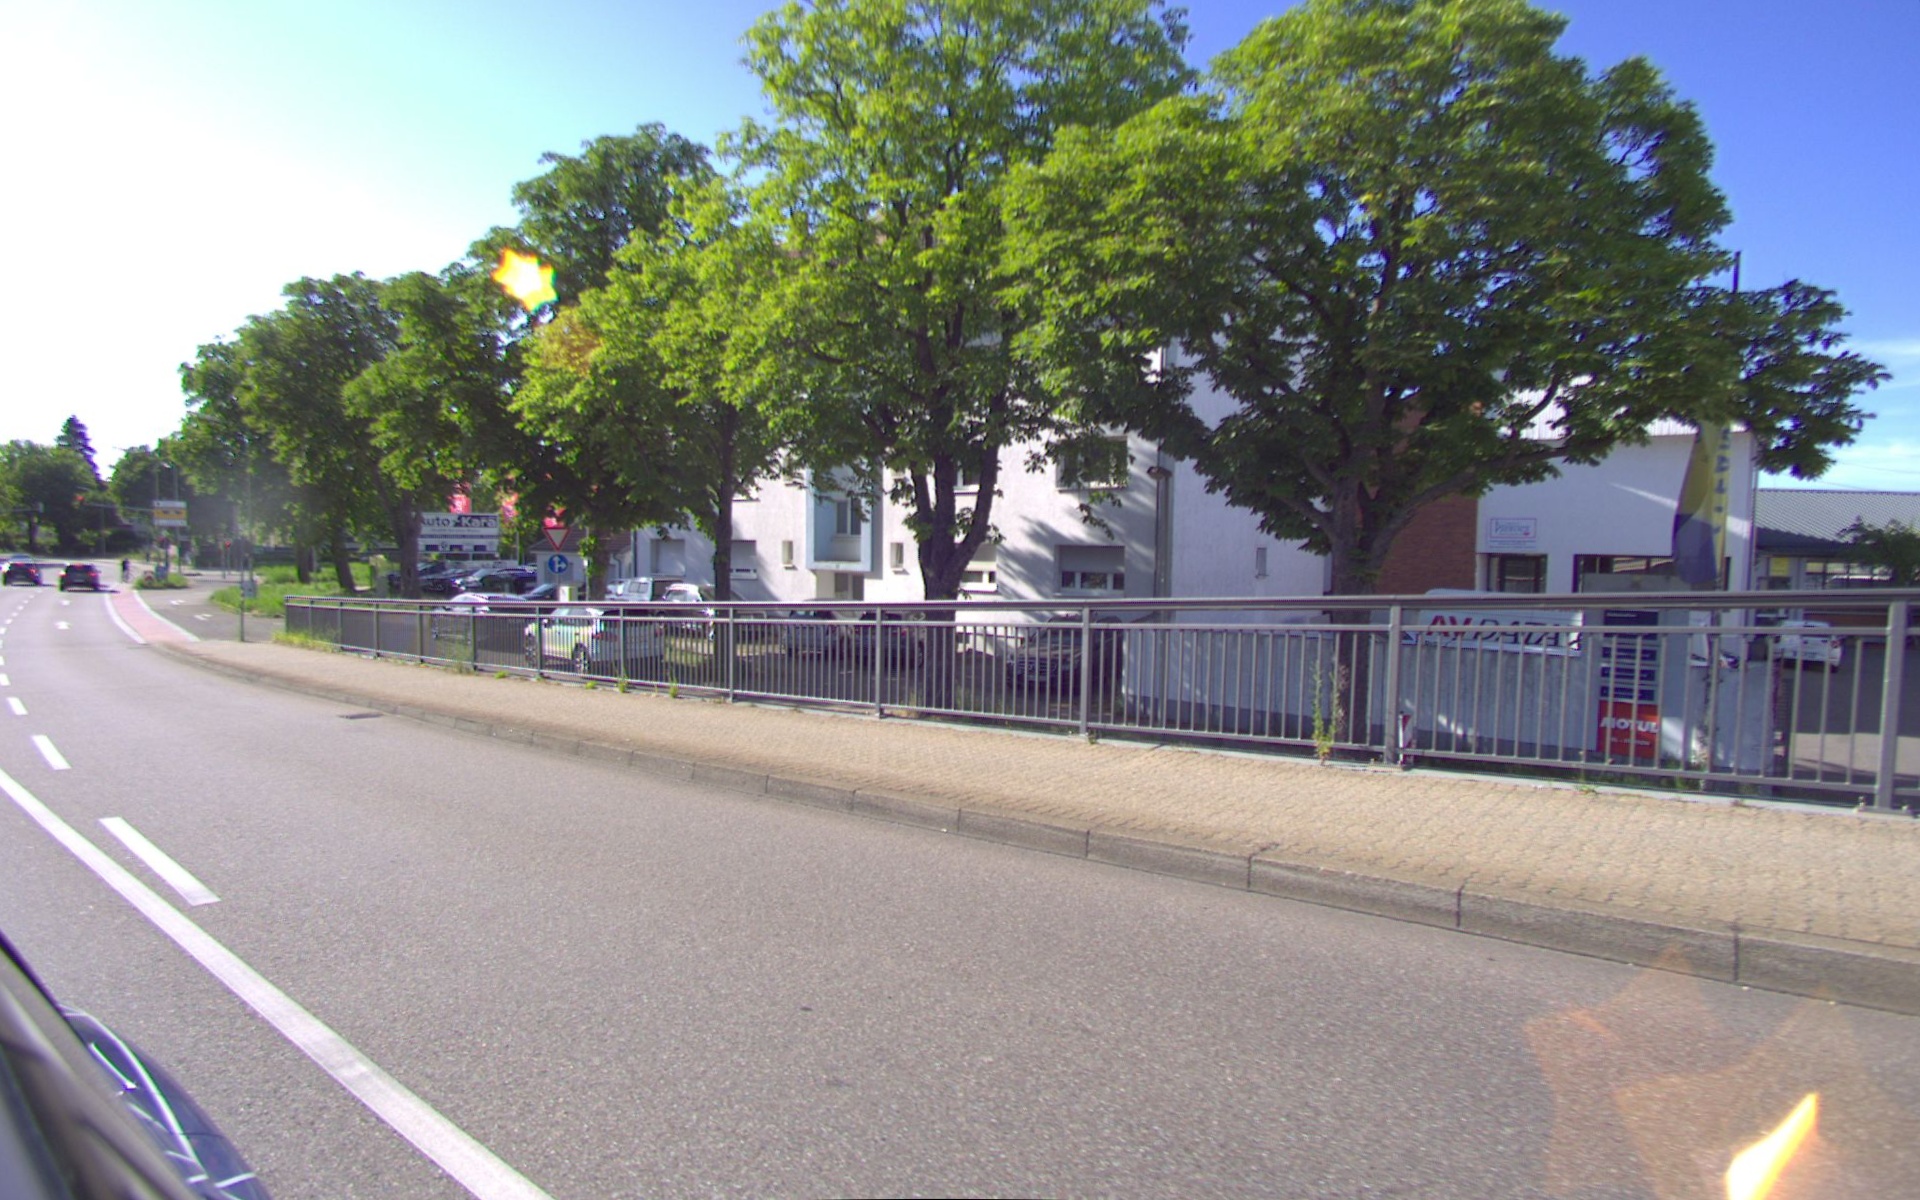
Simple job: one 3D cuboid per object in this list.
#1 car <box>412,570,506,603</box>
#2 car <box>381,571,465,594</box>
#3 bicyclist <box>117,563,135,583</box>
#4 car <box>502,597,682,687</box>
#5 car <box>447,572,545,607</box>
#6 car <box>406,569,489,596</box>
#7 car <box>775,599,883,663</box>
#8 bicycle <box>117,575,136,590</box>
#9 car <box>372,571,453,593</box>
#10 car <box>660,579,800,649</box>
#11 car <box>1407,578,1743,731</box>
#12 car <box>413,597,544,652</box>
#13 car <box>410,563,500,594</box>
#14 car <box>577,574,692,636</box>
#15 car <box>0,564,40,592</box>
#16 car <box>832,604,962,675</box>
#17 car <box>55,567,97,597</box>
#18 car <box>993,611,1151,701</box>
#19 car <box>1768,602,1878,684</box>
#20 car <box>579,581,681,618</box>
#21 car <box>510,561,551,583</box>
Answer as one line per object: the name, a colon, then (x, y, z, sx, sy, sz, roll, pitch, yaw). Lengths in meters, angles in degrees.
car: (-25.949, -0.743, 52.525, 1.918, 1.622, 3.954, 2, 3, 34)
car: (-31.485, -1.032, 59.397, 2.034, 1.249, 3.897, 1, 3, 27)
bicyclist: (-59.694, -1.942, 72.454, 0.921, 1.412, 0.824, -2, 3, -38)
car: (-9.250, 0.936, 25.185, 5.237, 1.741, 2.016, 3, 4, 43)
car: (-23.315, -0.573, 50.982, 1.804, 1.587, 4.371, 1, 3, 25)
car: (-29.255, -1.021, 57.901, 1.938, 1.423, 3.842, 1, 3, 29)
car: (-3.626, 0.821, 28.578, 1.768, 1.521, 3.652, 1, 2, 15)
bicycle: (-59.735, -1.272, 72.537, 0.925, 1.024, 2.202, -2, 3, -38)
car: (-33.275, -1.127, 61.641, 2.034, 1.249, 3.897, 1, 3, 27)
car: (-7.525, 0.373, 32.829, 4.786, 1.944, 2.048, 3, 4, 42)
car: (13.189, 1.008, 22.130, 5.874, 2.580, 2.114, 5, 5, 33)
car: (-14.652, 0.679, 30.652, 4.964, 1.475, 2.015, 0, 2, 45)
car: (-27.399, -1.217, 55.038, 1.990, 1.571, 3.964, 1, 3, 27)
car: (-11.782, 0.107, 36.478, 5.104, 1.944, 1.728, 3, 3, 43)
car: (-61.529, -1.469, 65.896, 3.999, 1.611, 1.893, 5, 2, 41)
car: (-1.569, 0.961, 26.668, 1.986, 1.610, 3.973, 1, 1, 21)
car: (-53.341, -1.106, 61.093, 1.830, 1.748, 4.276, -2, 3, -41)
car: (2.599, 1.157, 22.760, 1.894, 1.595, 3.966, 2, 3, 35)
car: (25.075, 1.164, 29.547, 1.996, 2.028, 3.919, 2, 3, 35)
car: (-14.746, -0.075, 45.357, 1.906, 1.439, 3.949, 4, 4, 38)
car: (-30.575, -2.010, 72.035, 1.717, 1.472, 4.009, -1, 3, -37)
